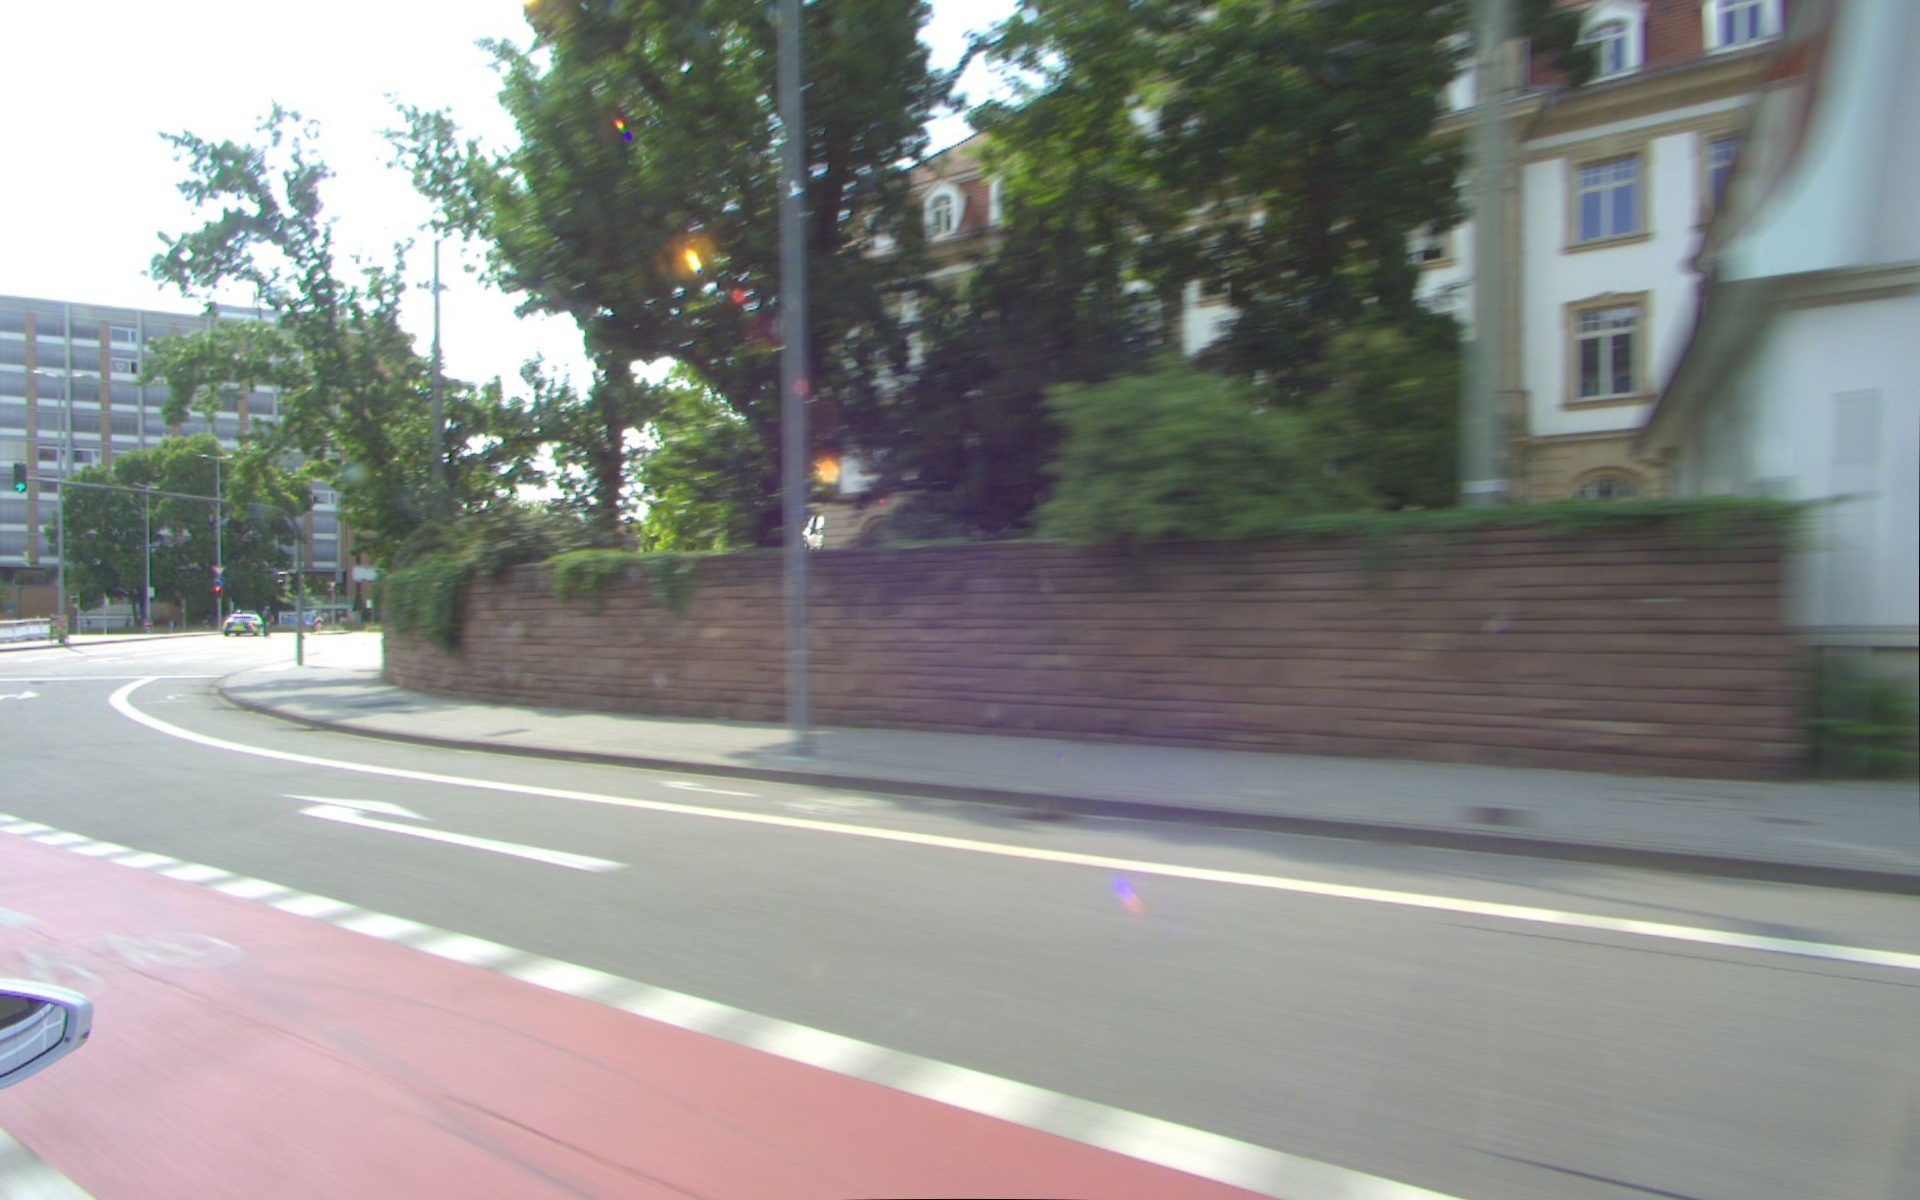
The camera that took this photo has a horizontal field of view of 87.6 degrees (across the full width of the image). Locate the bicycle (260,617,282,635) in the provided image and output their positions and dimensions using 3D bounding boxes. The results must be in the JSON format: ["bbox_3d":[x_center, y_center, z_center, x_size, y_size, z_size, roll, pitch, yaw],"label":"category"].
[{"bbox_3d":[-43.595,1.649,63.369,0.711,1.098,2.182,0,0,-24],"label":"bicycle"}]

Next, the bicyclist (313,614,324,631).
[{"bbox_3d":[-56.648,1.955,88.407,0.828,1.490,0.632,0,1,-32],"label":"bicyclist"}]

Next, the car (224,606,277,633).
[{"bbox_3d":[-47.578,1.297,67.260,2.104,1.705,4.088,2,-2,-24],"label":"car"}]

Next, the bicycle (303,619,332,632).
[{"bbox_3d":[-56.708,2.276,88.379,2.161,1.098,0.632,0,1,-33],"label":"bicycle"}]

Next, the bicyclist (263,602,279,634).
[{"bbox_3d":[-43.576,1.107,63.329,0.709,2.000,0.836,0,1,-24],"label":"bicyclist"}]
